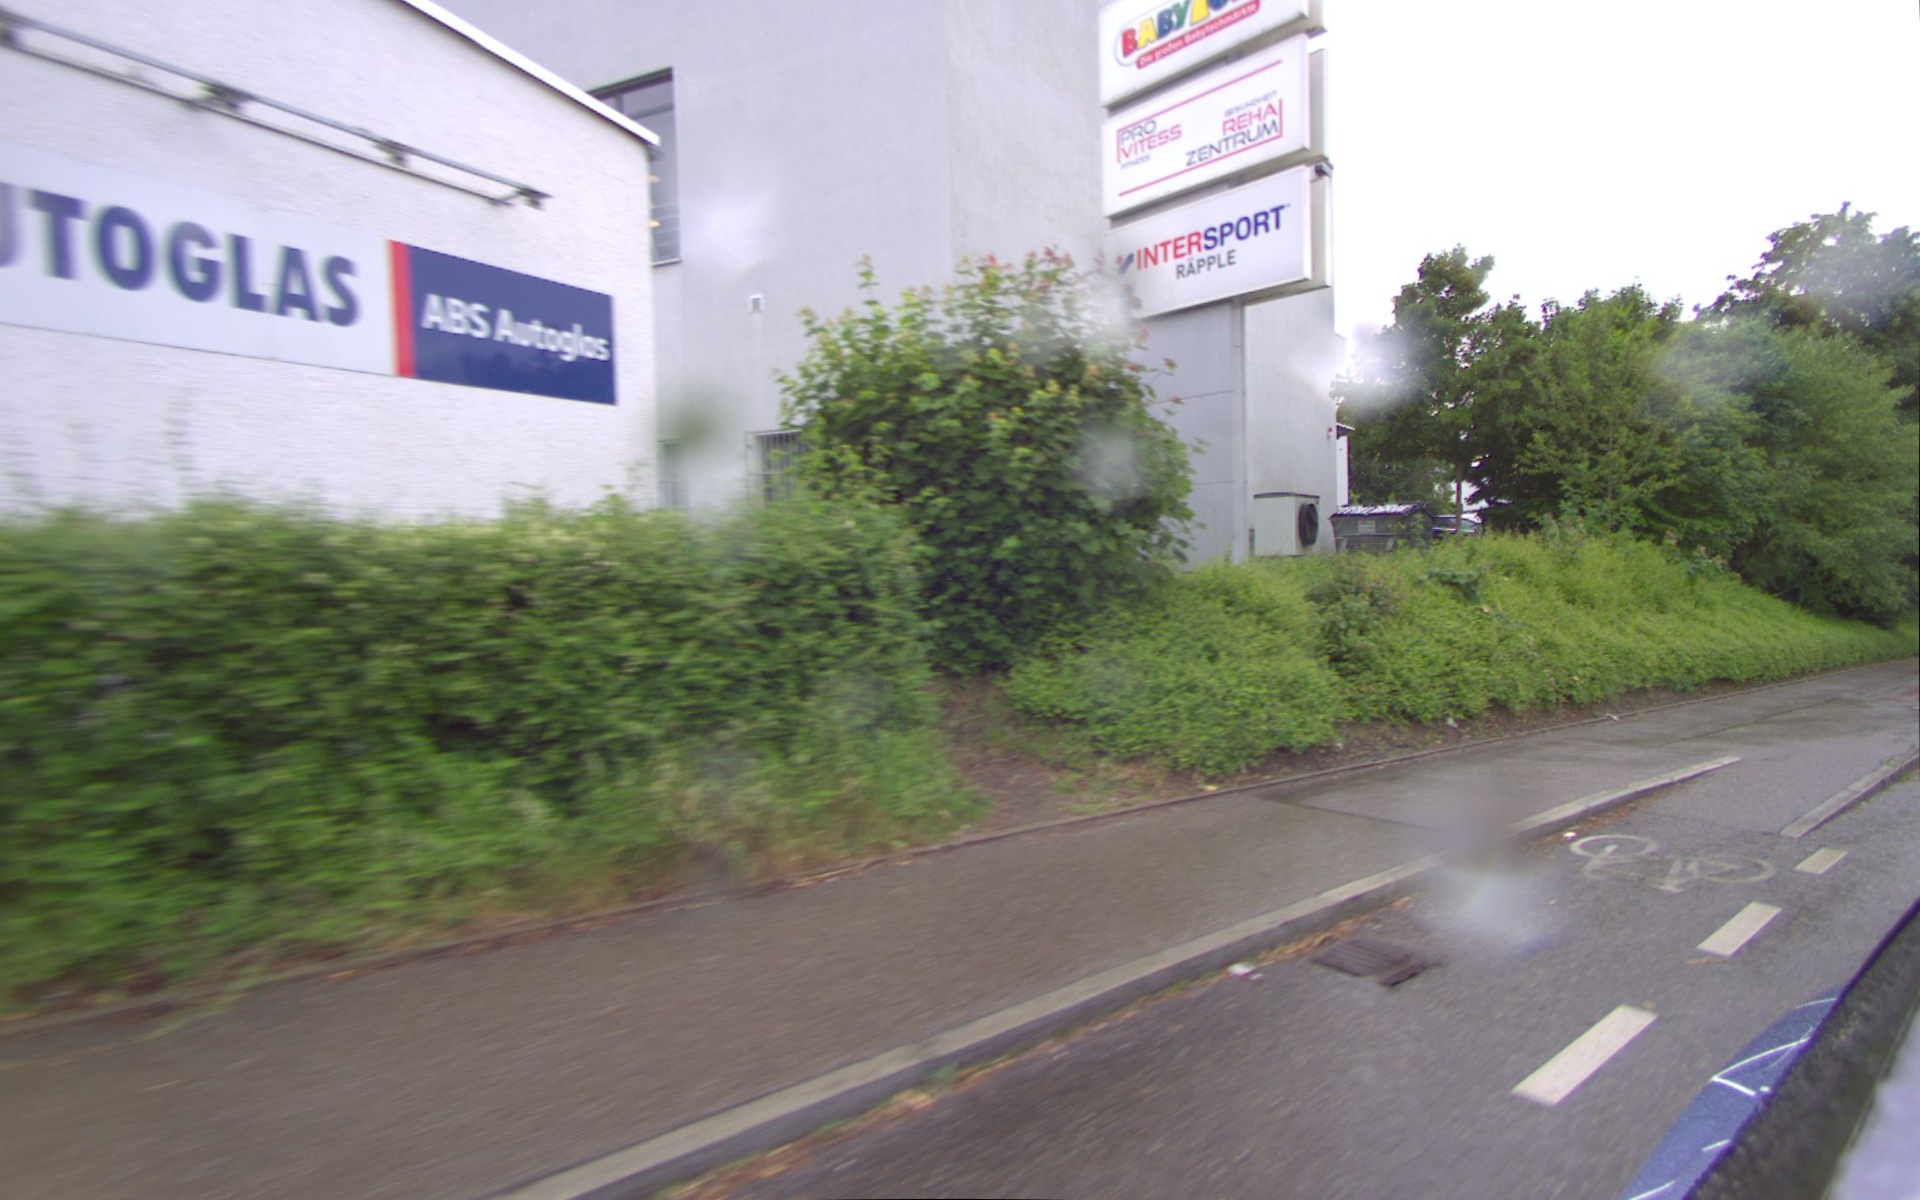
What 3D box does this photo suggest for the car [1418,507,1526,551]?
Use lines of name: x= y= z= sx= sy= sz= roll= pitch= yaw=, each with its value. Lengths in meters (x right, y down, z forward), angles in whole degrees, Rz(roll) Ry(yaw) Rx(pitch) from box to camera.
car: x=17.138 y=-2.361 z=33.891 sx=2.984 sy=1.210 sz=1.470 roll=-2 pitch=2 yaw=38
